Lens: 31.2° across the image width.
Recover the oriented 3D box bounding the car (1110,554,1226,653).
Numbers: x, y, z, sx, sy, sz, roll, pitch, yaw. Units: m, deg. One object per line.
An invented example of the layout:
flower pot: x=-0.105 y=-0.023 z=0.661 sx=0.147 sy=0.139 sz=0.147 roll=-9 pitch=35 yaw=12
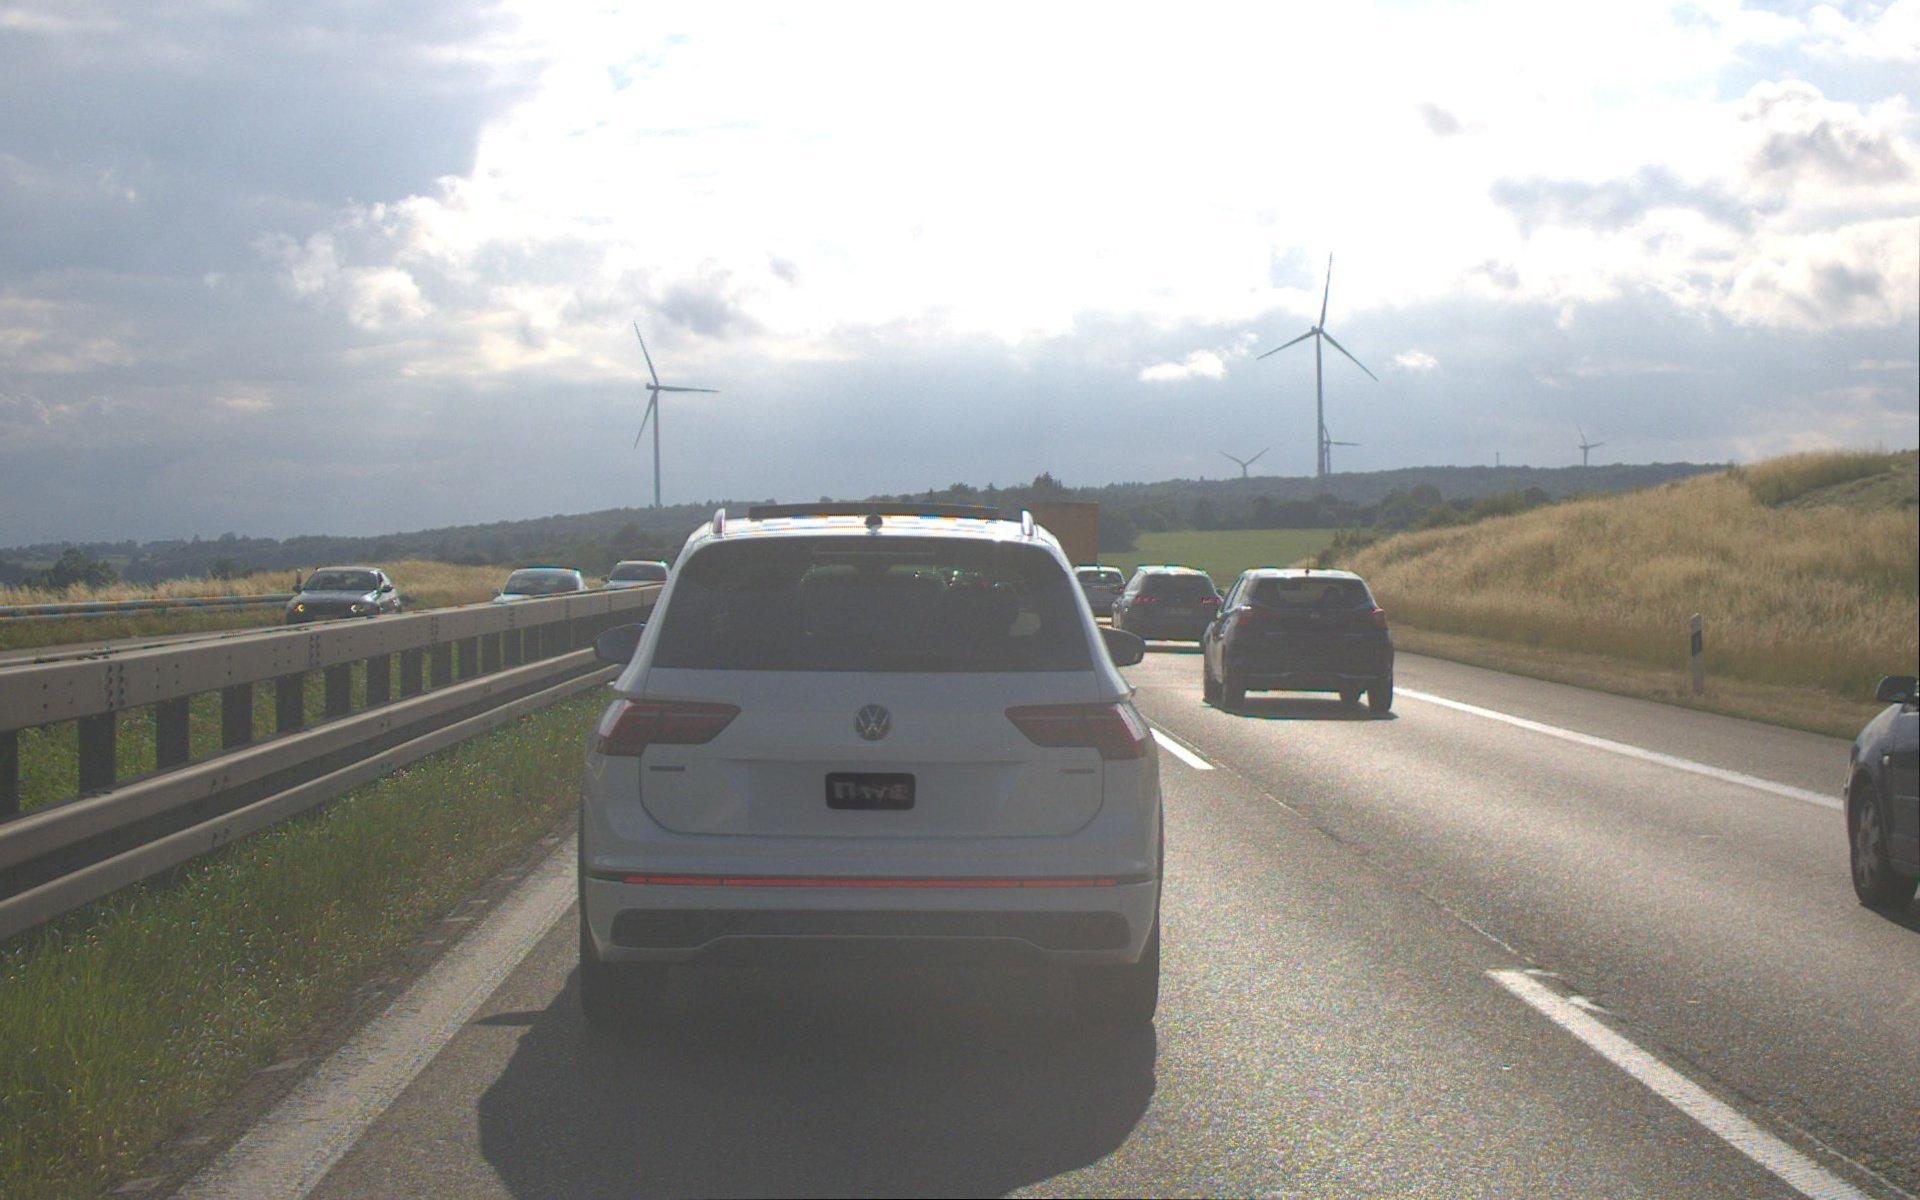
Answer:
car: x=3.591 y=0.050 z=59.976 sx=1.704 sy=1.644 sz=4.000 roll=1 pitch=0 yaw=-1

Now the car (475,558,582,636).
car: x=-8.778 y=-0.073 z=70.234 sx=1.749 sy=1.516 sz=4.480 roll=1 pitch=0 yaw=-2

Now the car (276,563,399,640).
car: x=-12.369 y=0.011 z=68.532 sx=1.749 sy=1.474 sz=4.480 roll=1 pitch=0 yaw=-2

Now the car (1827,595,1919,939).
car: x=4.799 y=0.709 z=13.845 sx=1.605 sy=1.415 sz=3.672 roll=1 pitch=0 yaw=-1

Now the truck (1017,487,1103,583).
truck: x=3.885 y=-2.547 z=135.749 sx=3.184 sy=3.581 sz=11.130 roll=1 pitch=1 yaw=1

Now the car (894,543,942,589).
car: x=-1.535 y=-1.230 z=124.962 sx=1.704 sy=1.644 sz=4.000 roll=1 pitch=0 yaw=-1

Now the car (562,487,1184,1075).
car: x=-0.283 y=0.510 z=11.894 sx=1.770 sy=1.670 sz=4.000 roll=1 pitch=0 yaw=-1

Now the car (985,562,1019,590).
car: x=2.307 y=-1.319 z=189.318 sx=1.704 sy=1.540 sz=4.000 roll=1 pitch=0 yaw=-1

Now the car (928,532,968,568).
car: x=-0.545 y=-2.232 z=154.733 sx=1.704 sy=1.540 sz=4.000 roll=1 pitch=0 yaw=-1

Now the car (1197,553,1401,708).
car: x=3.557 y=0.291 z=36.655 sx=1.704 sy=1.540 sz=4.000 roll=1 pitch=0 yaw=-1

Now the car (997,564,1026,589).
car: x=3.315 y=-1.507 z=221.118 sx=1.704 sy=1.540 sz=4.000 roll=1 pitch=0 yaw=-1

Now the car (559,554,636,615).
car: x=-9.832 y=-0.433 z=93.489 sx=1.749 sy=1.598 sz=4.266 roll=1 pitch=0 yaw=-2

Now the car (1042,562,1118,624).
car: x=3.048 y=-0.183 z=87.962 sx=1.704 sy=1.540 sz=4.000 roll=1 pitch=0 yaw=-1
